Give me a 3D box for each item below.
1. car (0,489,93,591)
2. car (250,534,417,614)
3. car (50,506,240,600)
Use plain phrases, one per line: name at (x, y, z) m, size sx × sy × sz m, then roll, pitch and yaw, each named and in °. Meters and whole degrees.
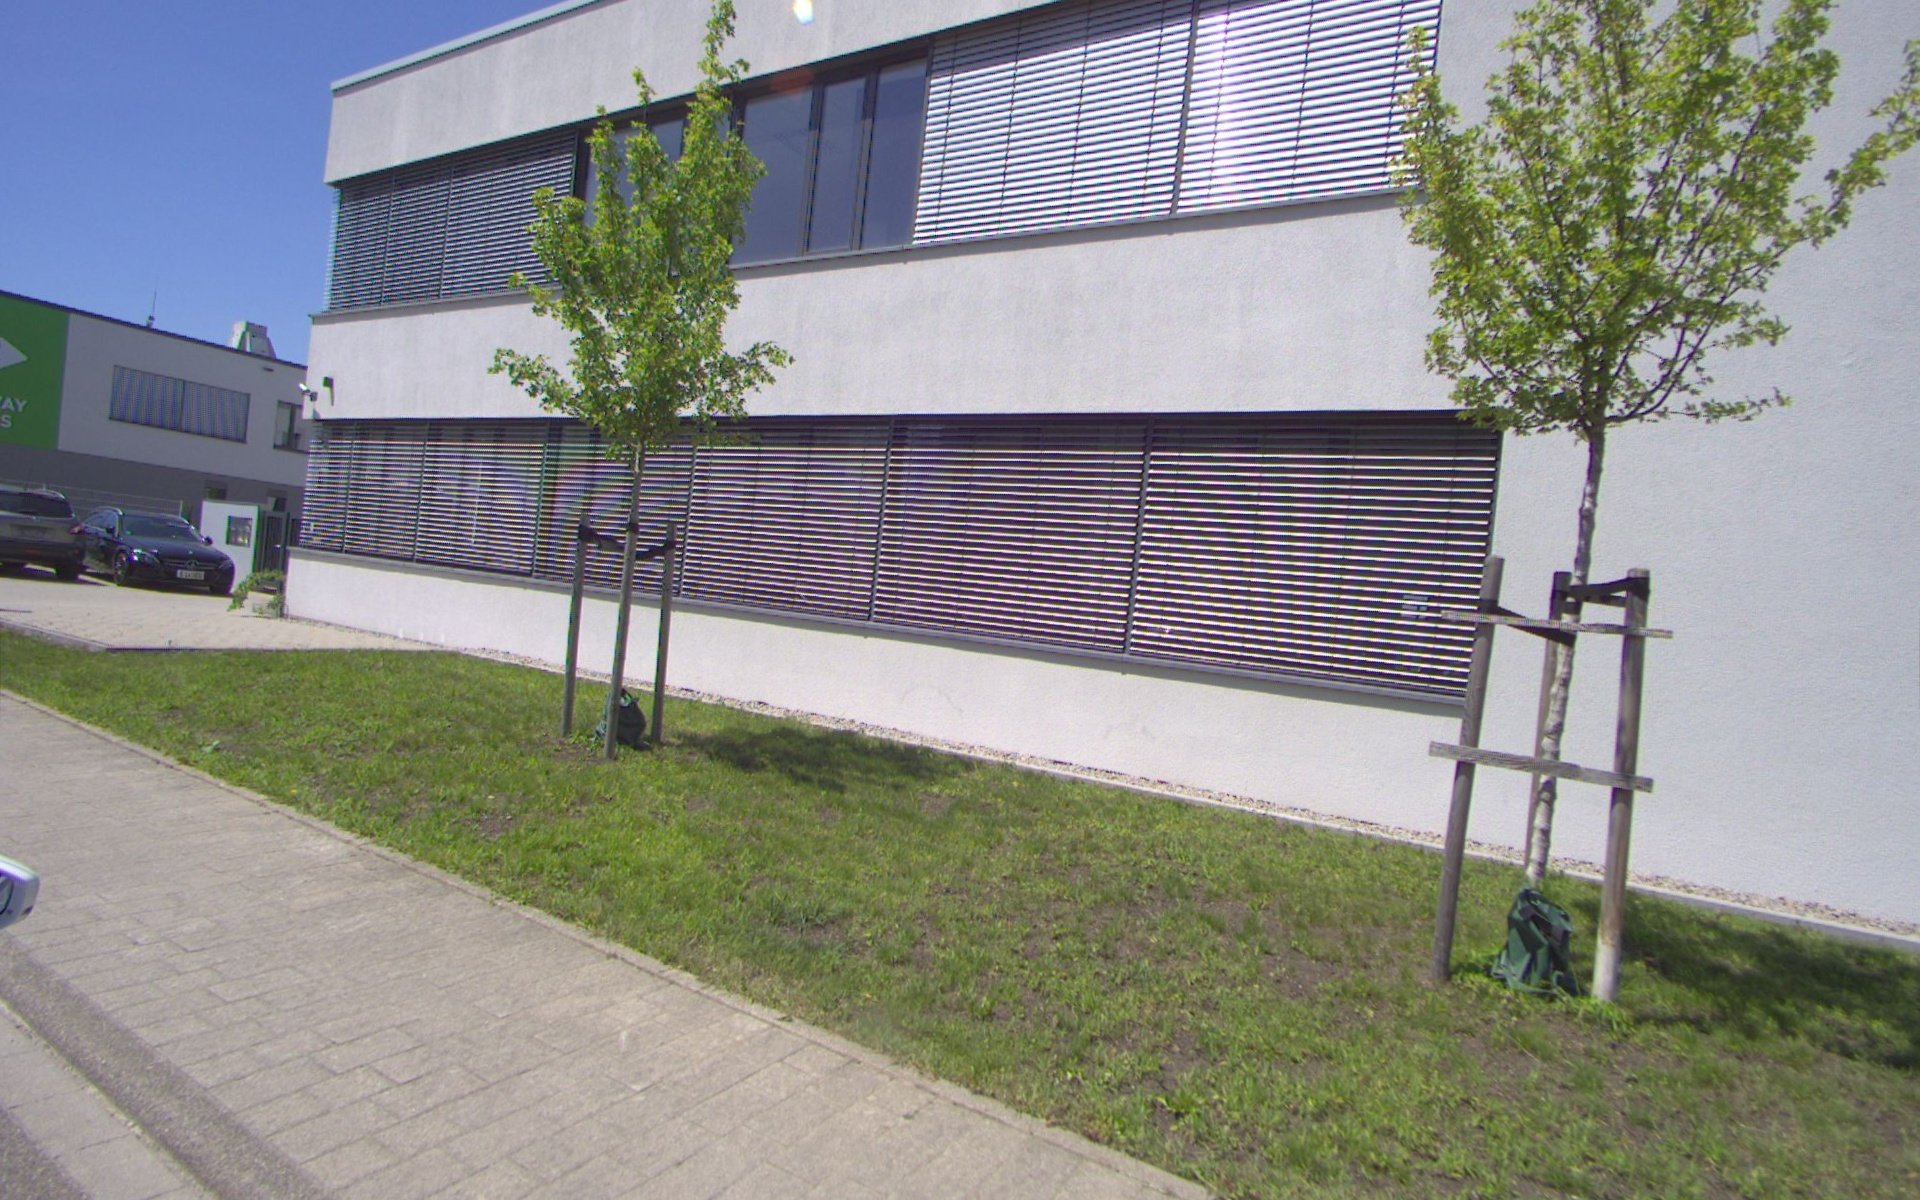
car at (-18.254, -1.243, 18.916) m, size 3.956 × 1.652 × 1.726 m, roll 6°, pitch -1°, yaw 32°
car at (-15.020, -0.633, 24.082) m, size 3.956 × 1.453 × 1.726 m, roll 6°, pitch -1°, yaw 32°
car at (-16.708, -0.975, 20.594) m, size 3.956 × 1.466 × 1.726 m, roll 6°, pitch -1°, yaw 32°
